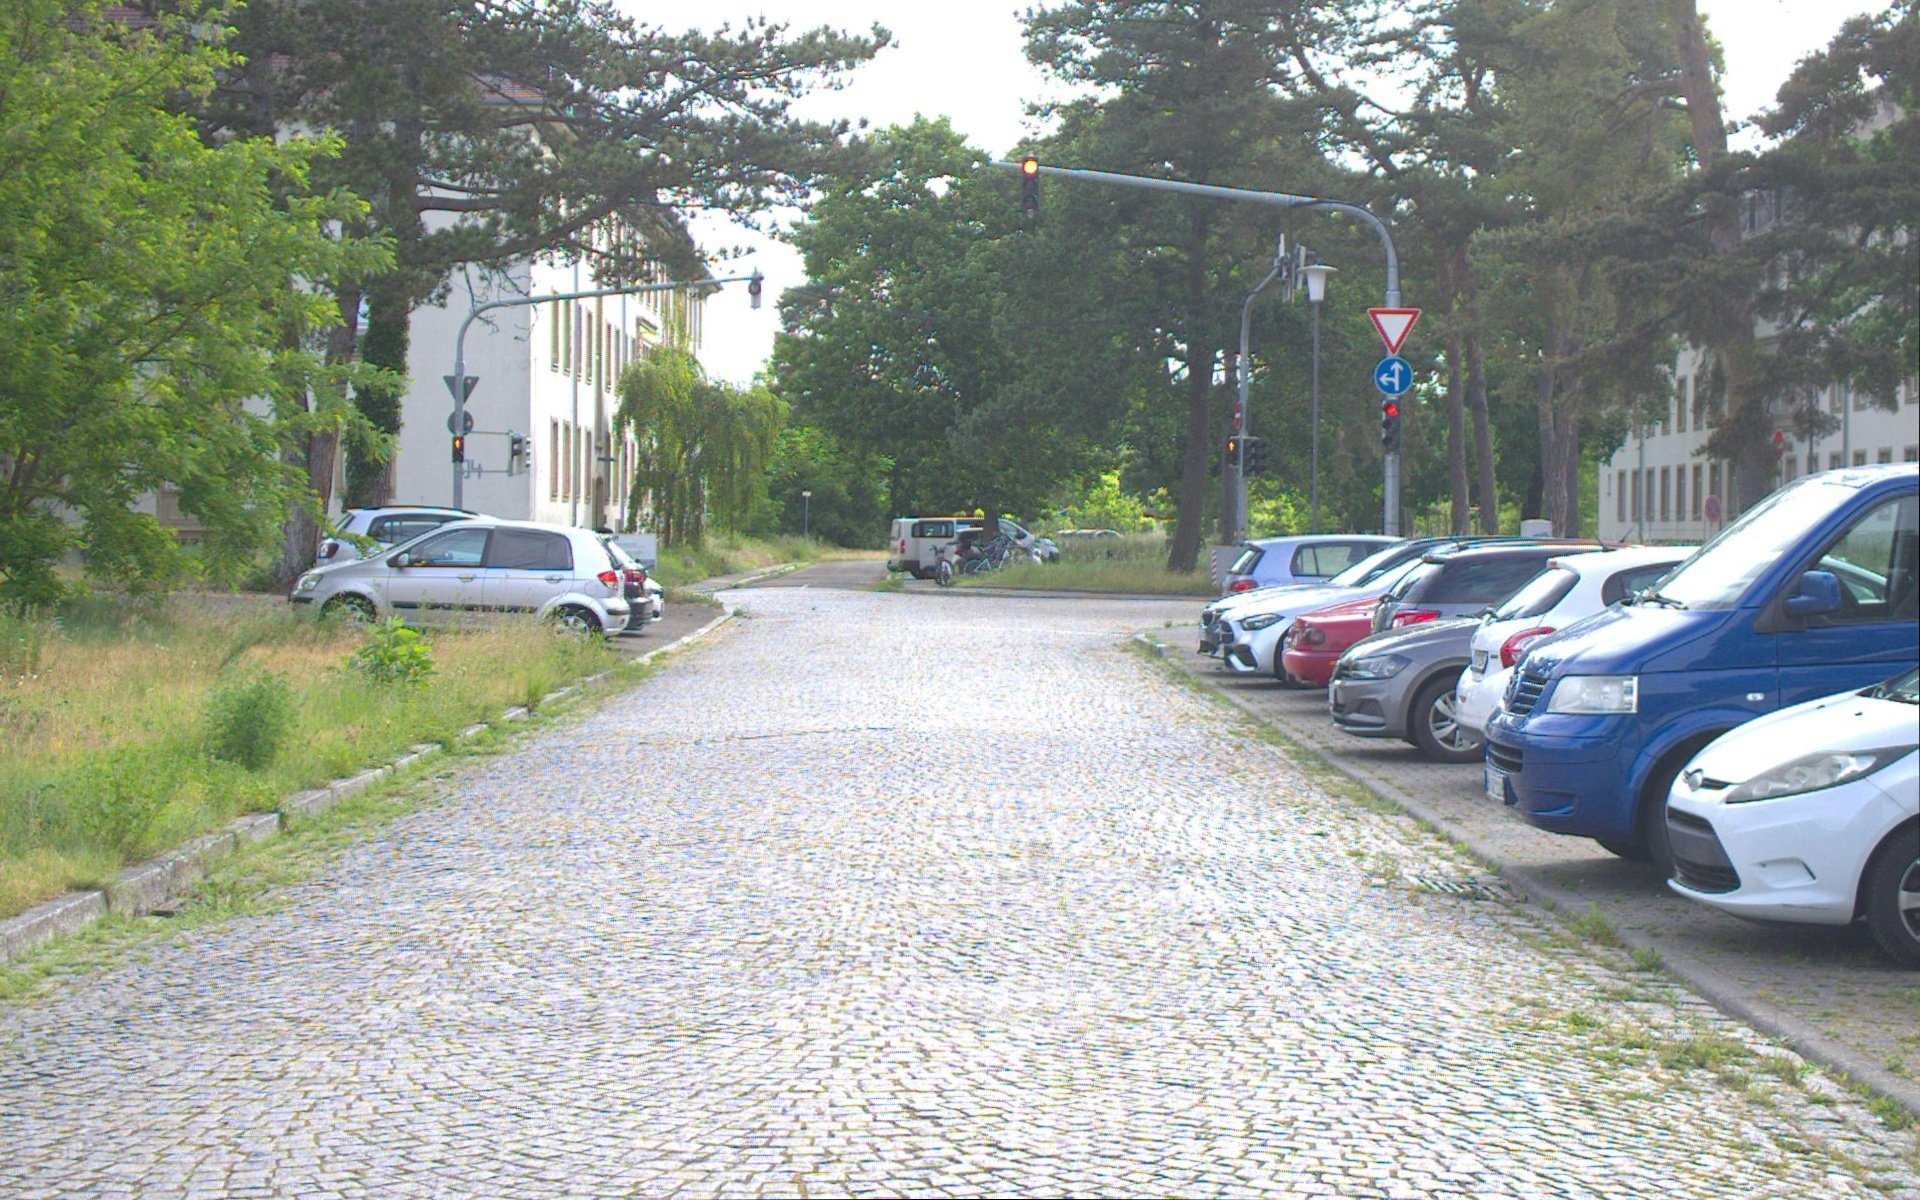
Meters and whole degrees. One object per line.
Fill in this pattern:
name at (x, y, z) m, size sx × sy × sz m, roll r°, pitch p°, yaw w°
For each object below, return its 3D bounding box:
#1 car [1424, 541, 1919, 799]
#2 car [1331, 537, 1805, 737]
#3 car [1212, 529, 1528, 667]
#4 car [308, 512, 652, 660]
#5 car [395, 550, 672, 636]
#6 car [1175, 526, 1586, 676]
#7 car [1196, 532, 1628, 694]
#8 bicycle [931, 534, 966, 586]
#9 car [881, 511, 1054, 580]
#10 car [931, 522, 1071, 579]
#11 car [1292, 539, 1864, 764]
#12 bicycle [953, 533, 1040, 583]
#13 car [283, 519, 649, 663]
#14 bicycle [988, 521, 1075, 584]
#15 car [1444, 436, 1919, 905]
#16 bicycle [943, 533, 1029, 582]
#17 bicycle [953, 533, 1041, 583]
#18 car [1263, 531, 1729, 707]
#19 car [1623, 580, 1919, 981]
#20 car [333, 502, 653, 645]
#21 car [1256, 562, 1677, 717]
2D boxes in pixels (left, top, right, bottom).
car at (4.675, 0.410, 21.338) m, size 3.292 × 1.499 × 1.664 m, roll 1°, pitch 1°, yaw -2°
car at (4.769, 0.274, 27.164) m, size 3.291 × 1.499 × 1.665 m, roll 0°, pitch 1°, yaw -11°
car at (4.715, -0.031, 39.742) m, size 3.388 × 1.538 × 1.391 m, roll 0°, pitch 1°, yaw -6°
car at (-5.740, -0.184, 41.399) m, size 3.986 × 1.700 × 2.001 m, roll 0°, pitch 1°, yaw -6°
car at (-5.775, -0.100, 46.700) m, size 3.670 × 1.090 × 1.647 m, roll 0°, pitch 1°, yaw -6°
car at (4.509, -0.002, 37.171) m, size 4.122 × 1.538 × 1.664 m, roll 0°, pitch 1°, yaw -6°
car at (4.483, 0.117, 34.419) m, size 3.986 × 1.538 × 1.664 m, roll 0°, pitch 1°, yaw -6°
bicycle at (-0.277, -0.993, 84.947) m, size 0.810 × 1.264 × 1.973 m, roll 1°, pitch 1°, yaw 1°
car at (0.220, -1.695, 106.524) m, size 5.049 × 2.007 × 2.001 m, roll 1°, pitch 1°, yaw -11°
car at (1.214, -1.496, 103.251) m, size 3.986 × 1.638 × 2.001 m, roll 1°, pitch 1°, yaw -6°
car at (4.321, 0.342, 24.285) m, size 3.597 × 1.501 × 1.665 m, roll 0°, pitch 1°, yaw -11°
bicycle at (0.936, -1.097, 89.295) m, size 2.160 × 1.264 × 0.812 m, roll 1°, pitch 1°, yaw -7°
car at (-5.549, -0.121, 38.913) m, size 3.986 × 1.546 × 2.001 m, roll 0°, pitch 1°, yaw -6°
bicycle at (1.864, -1.248, 90.004) m, size 2.160 × 1.610 × 0.812 m, roll 1°, pitch 1°, yaw -7°
car at (4.788, 0.303, 15.907) m, size 4.782 × 2.033 × 1.738 m, roll 1°, pitch 1°, yaw -2°
bicycle at (0.688, -1.117, 90.508) m, size 2.160 × 1.264 × 0.812 m, roll 1°, pitch 1°, yaw -7°
bicycle at (0.946, -1.091, 88.707) m, size 2.160 × 1.264 × 0.812 m, roll 1°, pitch 1°, yaw -7°
car at (4.967, 0.163, 32.126) m, size 3.986 × 1.538 × 1.664 m, roll 1°, pitch 1°, yaw -6°
car at (4.641, 0.639, 13.451) m, size 3.722 × 1.419 × 1.655 m, roll -1°, pitch 1°, yaw -3°
car at (-6.022, -0.354, 44.442) m, size 3.986 × 1.744 × 1.927 m, roll 1°, pitch 1°, yaw -7°
car at (4.362, 0.328, 29.880) m, size 3.291 × 1.263 × 1.664 m, roll 0°, pitch 1°, yaw -6°
